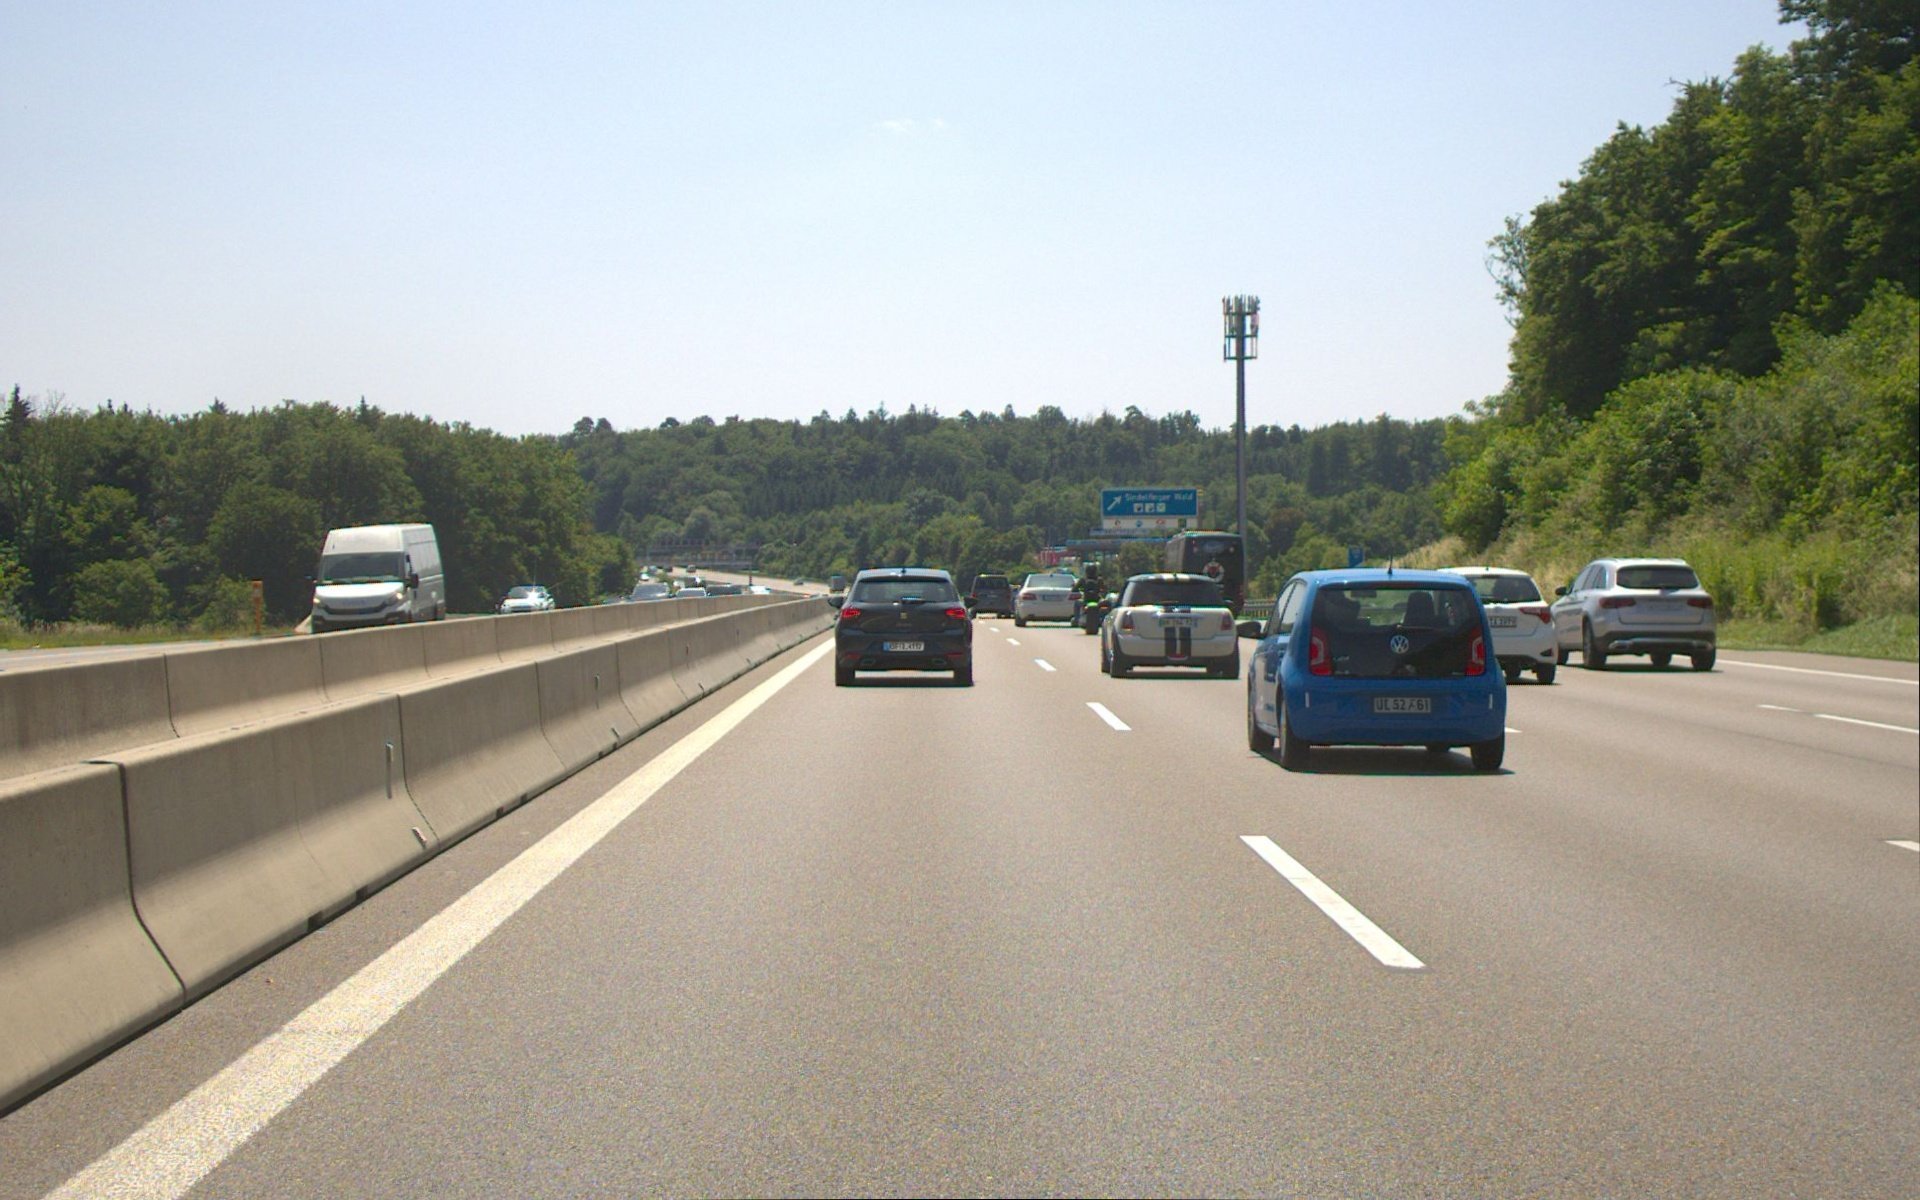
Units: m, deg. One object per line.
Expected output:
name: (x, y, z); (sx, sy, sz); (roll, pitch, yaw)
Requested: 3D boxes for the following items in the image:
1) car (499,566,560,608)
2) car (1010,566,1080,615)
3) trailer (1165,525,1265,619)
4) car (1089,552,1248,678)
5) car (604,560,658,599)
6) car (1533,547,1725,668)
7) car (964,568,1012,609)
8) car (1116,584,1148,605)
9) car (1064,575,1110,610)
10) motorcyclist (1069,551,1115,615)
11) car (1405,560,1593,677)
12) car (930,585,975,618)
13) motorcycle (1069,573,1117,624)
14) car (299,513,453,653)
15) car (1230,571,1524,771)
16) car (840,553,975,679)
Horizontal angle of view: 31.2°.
car: (-16.727, -0.514, 133.835); (1.744, 1.557, 4.422); (-3, 0, 0)
car: (2.302, -0.267, 93.927); (1.782, 1.261, 3.460); (-1, 1, 0)
trailer: (10.651, -1.088, 145.104); (2.857, 3.675, 13.542); (-1, -1, -1)
car: (2.791, 0.187, 46.759); (1.841, 1.547, 4.000); (3, 0, 0)
car: (-13.720, -0.856, 143.567); (1.801, 1.543, 4.729); (-1, 1, 0)
car: (10.052, 0.075, 52.040); (1.801, 1.725, 5.239); (1, 1, -1)
car: (1.321, -0.540, 161.567); (2.097, 1.845, 4.081); (-1, 1, -1)
car: (10.222, -0.305, 204.802); (1.608, 1.208, 3.460); (-1, 0, -2)
car: (5.448, -0.348, 147.395); (1.675, 1.427, 3.685); (-1, 1, -2)
motorcyclist: (3.028, -0.399, 78.912); (0.962, 1.433, 1.235); (-2, 0, 0)
car: (7.057, 0.203, 45.366); (1.666, 1.428, 4.376); (-1, 1, -1)
car: (-0.417, 0.053, 182.913); (1.993, 1.678, 4.424); (1, 1, -5)
motorcycle: (3.050, -0.044, 79.009); (0.977, 1.125, 2.271); (-1, 1, 0)
car: (-12.534, -0.376, 74.282); (2.085, 2.790, 7.603); (-2, 0, -1)
car: (3.104, 0.501, 26.296); (1.737, 1.406, 4.000); (0, 0, 0)
car: (-0.642, 0.167, 43.218); (1.624, 1.482, 3.685); (0, 1, 0)
